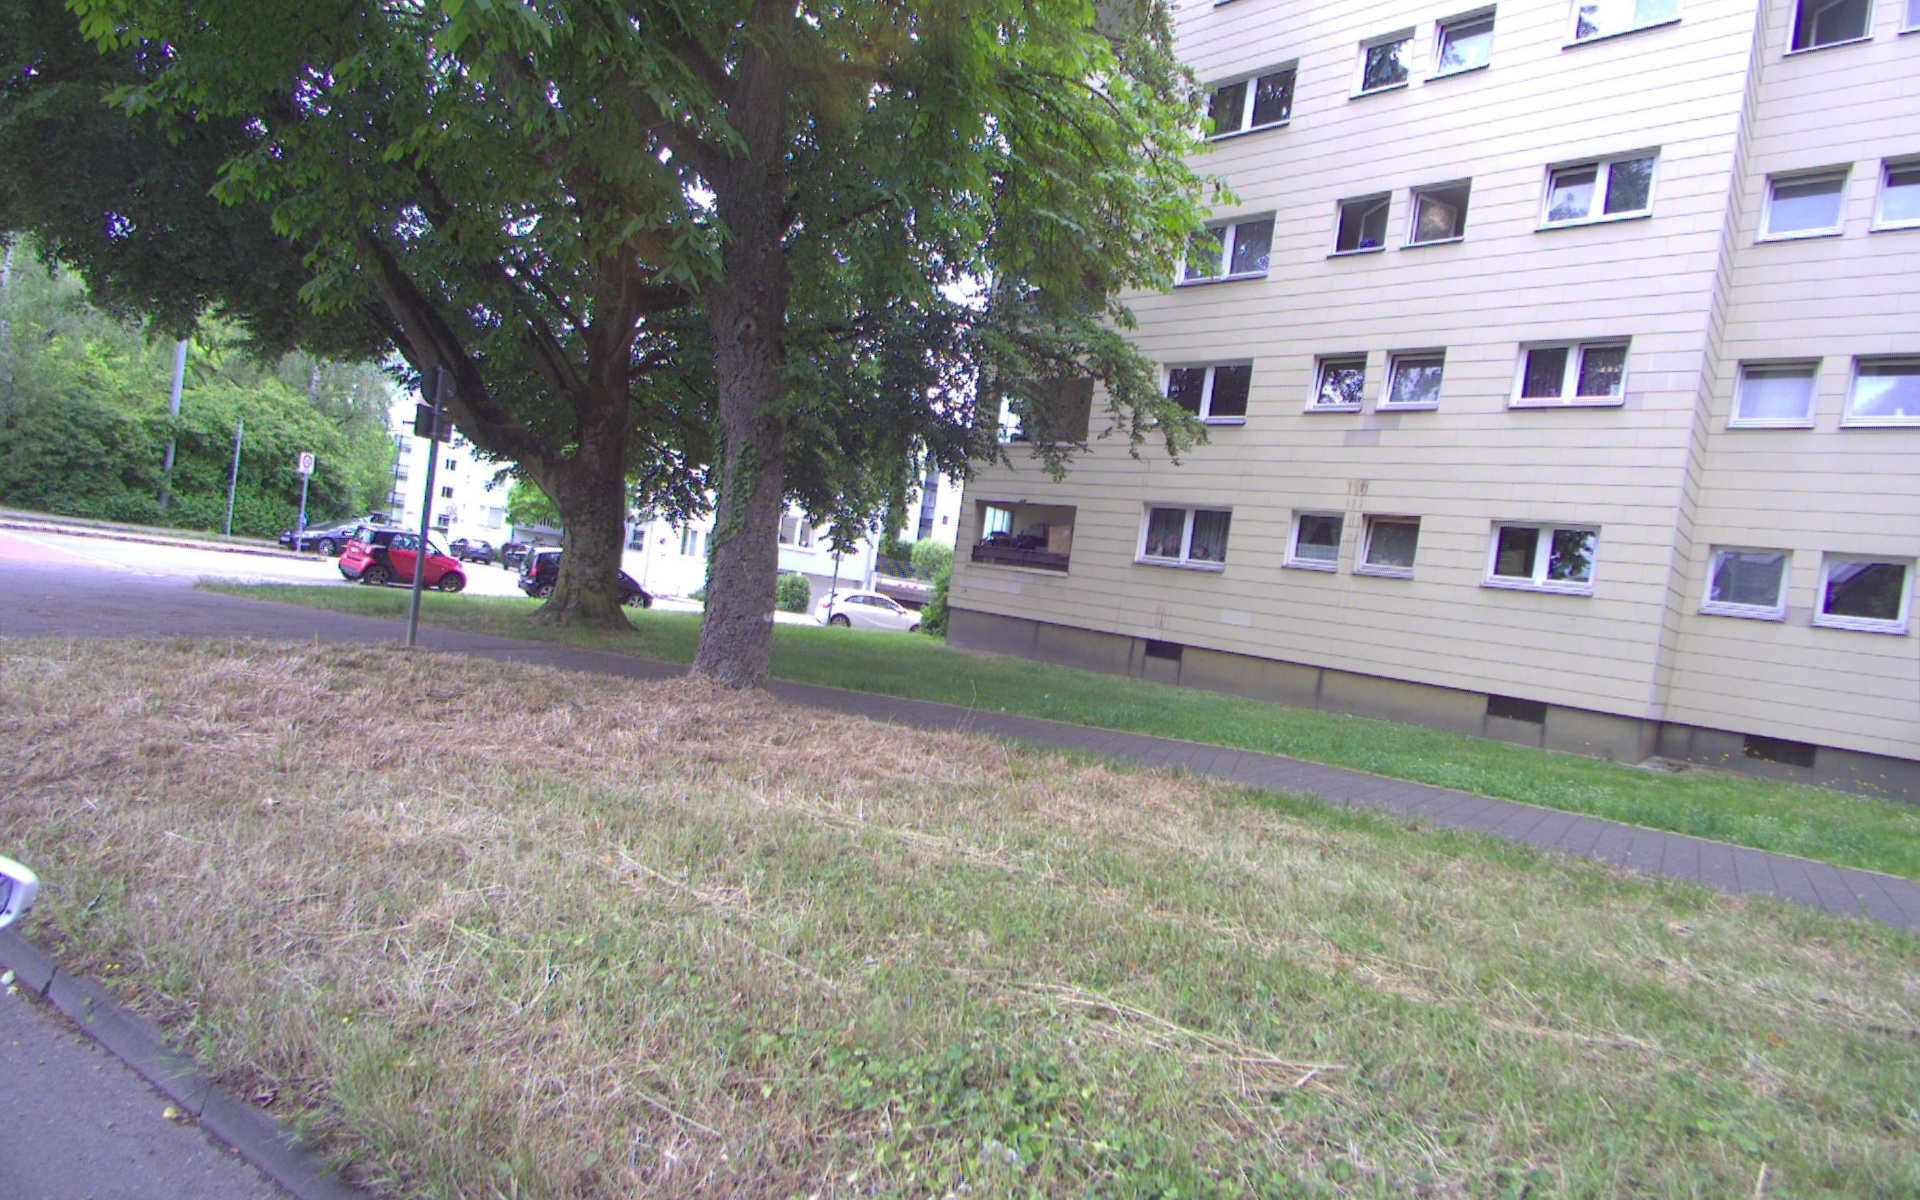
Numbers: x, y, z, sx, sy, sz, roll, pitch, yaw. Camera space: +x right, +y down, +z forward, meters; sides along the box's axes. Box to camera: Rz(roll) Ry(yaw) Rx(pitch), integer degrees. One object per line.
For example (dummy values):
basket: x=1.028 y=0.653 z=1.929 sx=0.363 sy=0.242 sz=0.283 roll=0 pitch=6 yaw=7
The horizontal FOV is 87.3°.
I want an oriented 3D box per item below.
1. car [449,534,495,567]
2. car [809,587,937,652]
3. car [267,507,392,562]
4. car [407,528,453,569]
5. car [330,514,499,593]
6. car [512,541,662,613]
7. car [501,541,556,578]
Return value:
car: x=-30.125 y=-3.076 z=62.023 sx=1.713 sy=1.631 sz=3.813 roll=6 pitch=1 yaw=-38
car: x=-2.896 y=0.631 z=33.311 sx=3.796 sy=1.631 sz=1.721 roll=7 pitch=1 yaw=-18
car: x=-23.413 y=-2.407 z=37.431 sx=1.702 sy=1.549 sz=3.515 roll=8 pitch=1 yaw=38
car: x=-24.889 y=-2.444 z=47.183 sx=1.709 sy=1.631 sz=3.823 roll=6 pitch=1 yaw=-30
car: x=-14.538 y=-1.209 z=26.948 sx=1.702 sy=1.631 sz=3.516 roll=8 pitch=1 yaw=37
car: x=-11.068 y=-0.676 z=29.922 sx=3.814 sy=1.631 sz=1.713 roll=6 pitch=1 yaw=-33
car: x=-23.200 y=-2.200 z=54.071 sx=1.713 sy=1.631 sz=3.813 roll=6 pitch=1 yaw=-38
